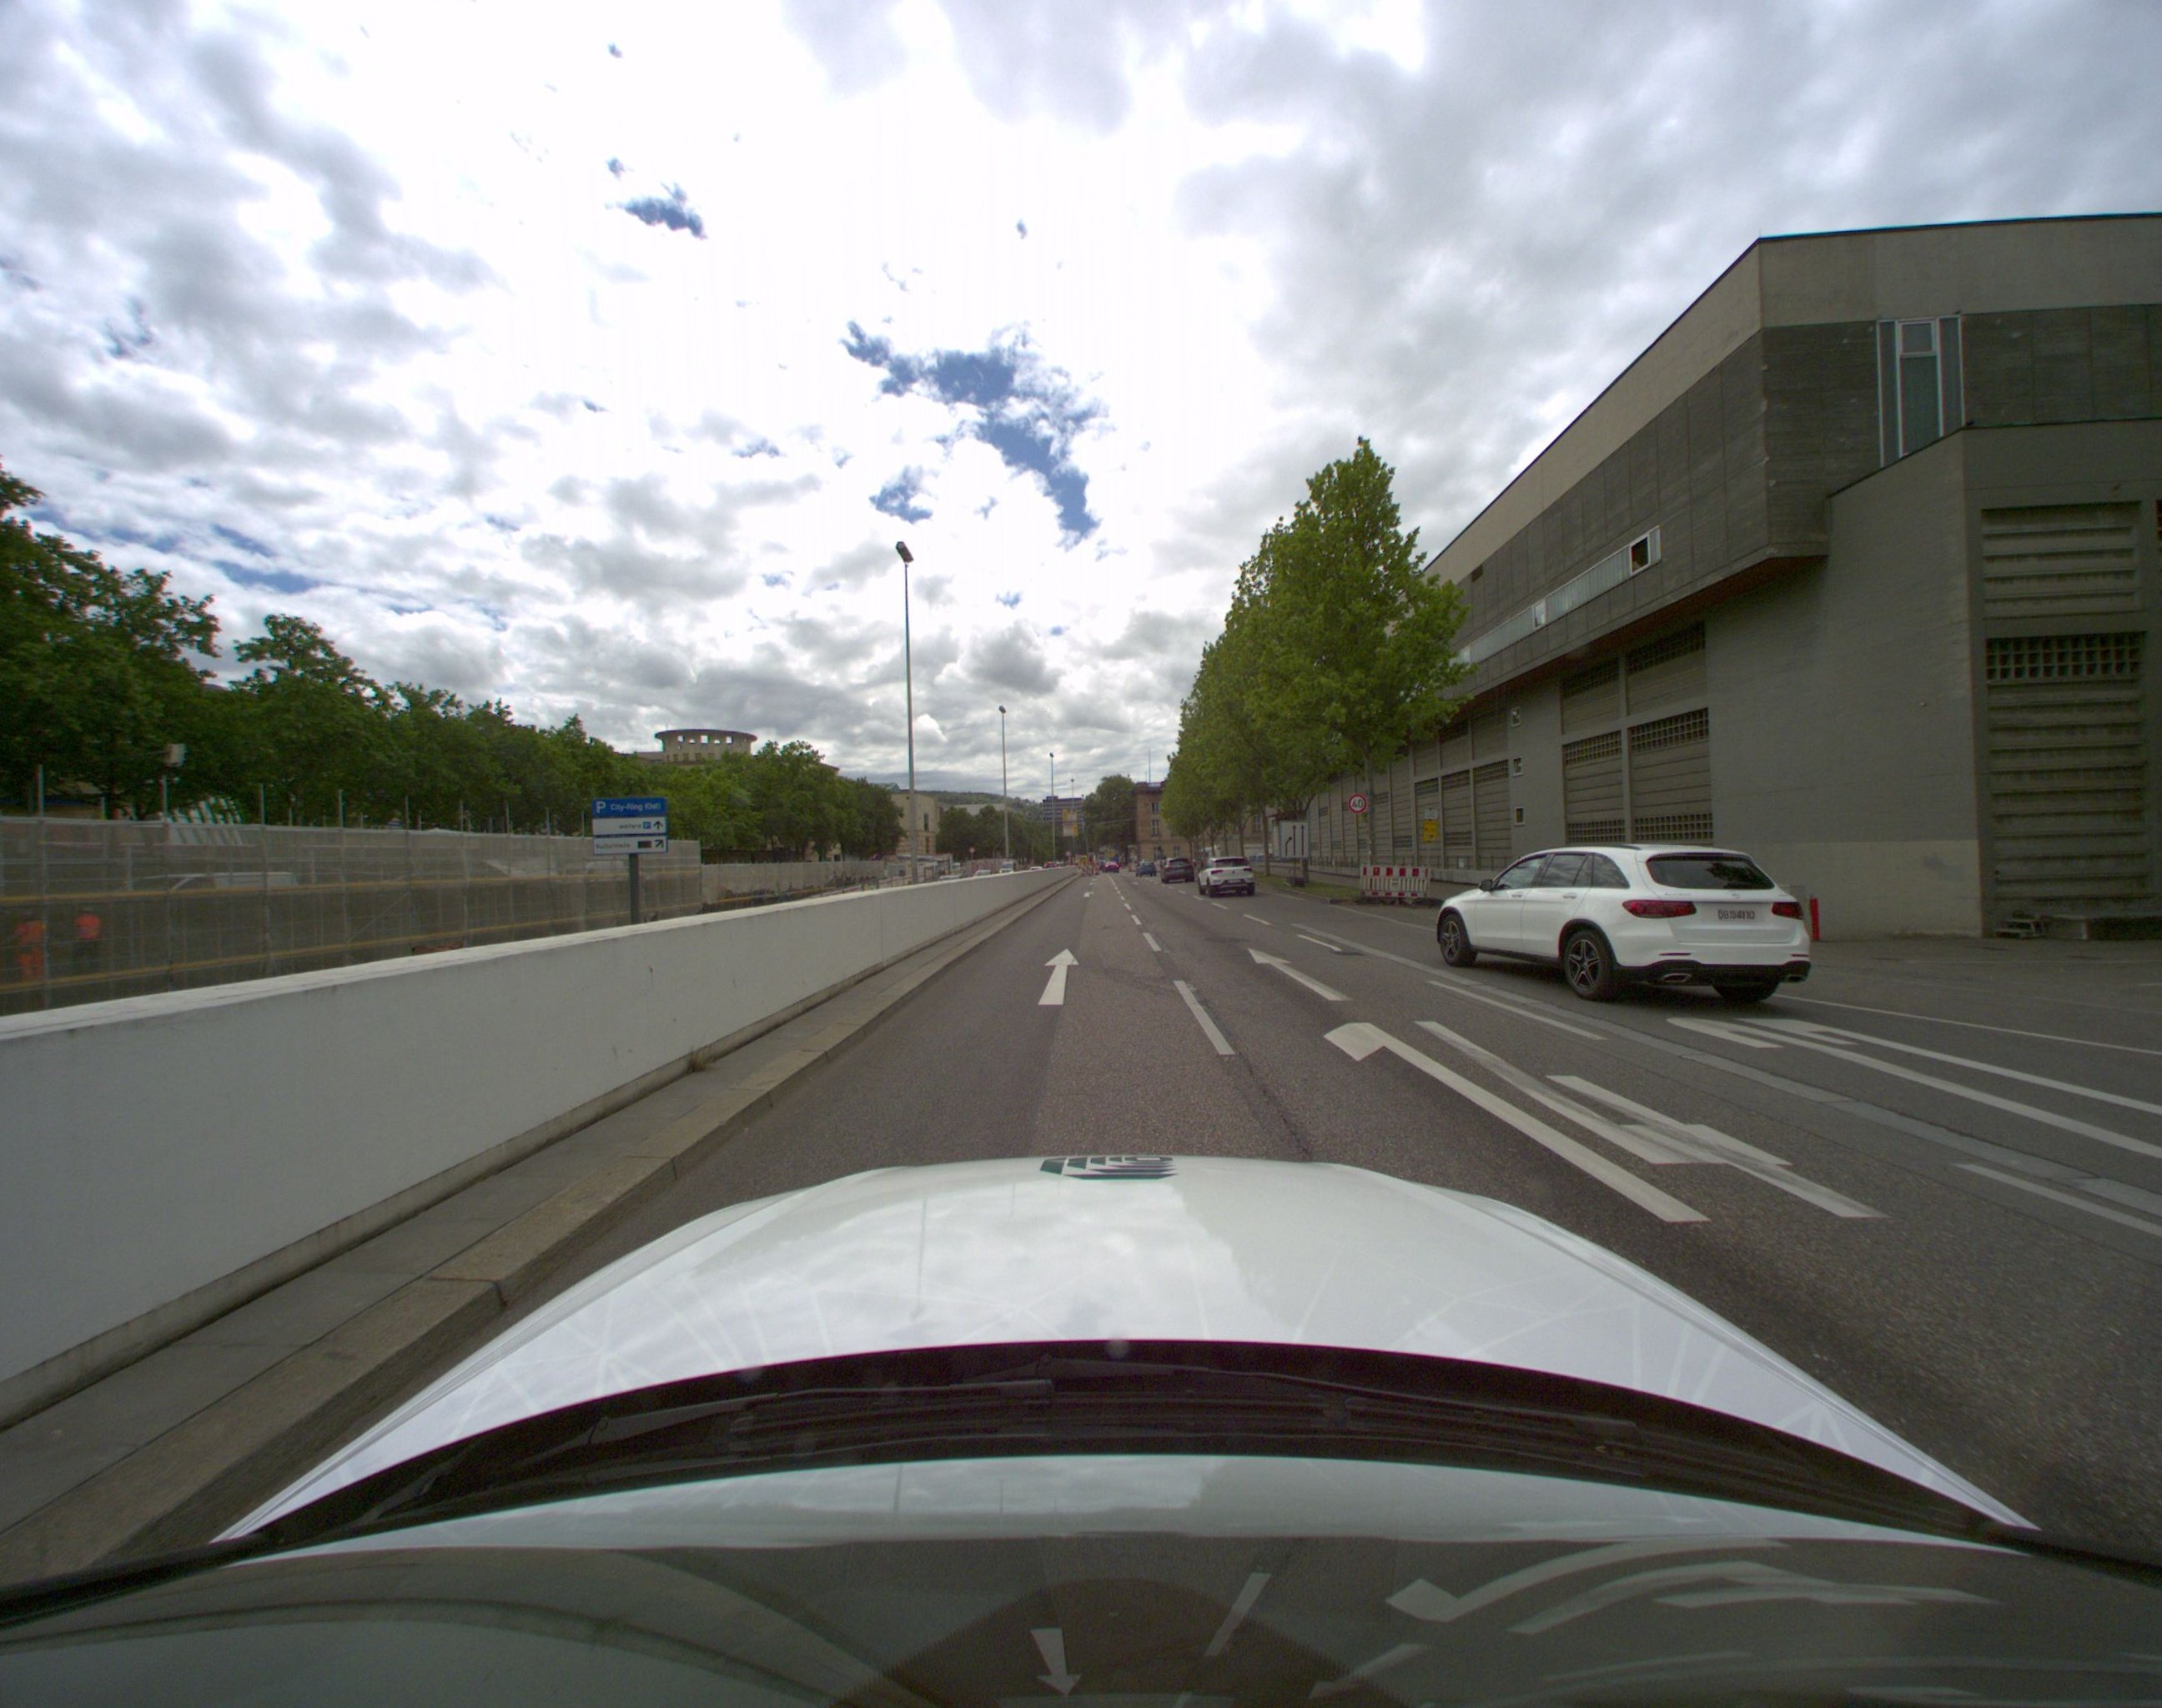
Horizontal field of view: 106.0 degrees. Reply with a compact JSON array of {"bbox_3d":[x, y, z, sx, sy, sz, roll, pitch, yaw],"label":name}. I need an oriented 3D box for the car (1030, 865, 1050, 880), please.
[{"bbox_3d":[-4.300,1.957,86.023,1.743,1.568,3.379,-1,-1,3],"label":"car"}]

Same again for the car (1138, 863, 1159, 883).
[{"bbox_3d":[6.553,1.821,79.267,1.814,1.740,4.487,-3,-1,6],"label":"car"}]

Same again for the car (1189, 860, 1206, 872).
[{"bbox_3d":[16.175,1.728,113.345,1.849,1.568,4.333,-2,-2,2],"label":"car"}]

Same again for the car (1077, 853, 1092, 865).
[{"bbox_3d":[0.750,1.156,174.199,2.569,2.374,5.535,-3,-1,6],"label":"car"}]

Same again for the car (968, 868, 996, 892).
[{"bbox_3d":[-9.281,2.445,76.598,1.986,2.013,4.001,-2,1,1],"label":"car"}]

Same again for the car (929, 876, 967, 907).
[{"bbox_3d":[-9.730,2.712,59.777,1.986,2.013,4.001,-2,1,1],"label":"car"}]

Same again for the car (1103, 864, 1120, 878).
[{"bbox_3d":[3.990,2.196,106.471,1.814,1.740,4.487,-3,-1,6],"label":"car"}]

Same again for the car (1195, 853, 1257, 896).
[{"bbox_3d":[5.803,0.779,33.123,1.744,1.568,4.332,-3,0,1],"label":"car"}]

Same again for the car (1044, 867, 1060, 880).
[{"bbox_3d":[-3.854,2.626,108.142,1.744,1.568,3.379,-4,-1,3],"label":"car"}]

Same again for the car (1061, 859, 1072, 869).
[{"bbox_3d":[-2.501,1.709,142.059,1.745,1.568,4.328,-2,-1,-1],"label":"car"}]

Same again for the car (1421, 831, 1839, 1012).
[{"bbox_3d":[6.016,0.655,9.780,1.807,1.643,4.547,-1,-1,-2],"label":"car"}]

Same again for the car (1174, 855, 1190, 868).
[{"bbox_3d":[14.062,1.060,113.781,1.744,1.568,4.333,-2,-2,2],"label":"car"}]

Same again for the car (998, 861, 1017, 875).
[{"bbox_3d":[-8.798,1.677,97.759,1.744,1.568,3.379,-4,-1,3],"label":"car"}]

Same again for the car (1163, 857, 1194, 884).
[{"bbox_3d":[6.454,1.063,54.398,1.814,1.567,4.486,-5,-1,5],"label":"car"}]

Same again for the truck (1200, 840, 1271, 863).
[{"bbox_3d":[22.991,-0.376,121.421,9.990,3.051,2.570,-2,-2,2],"label":"truck"}]
